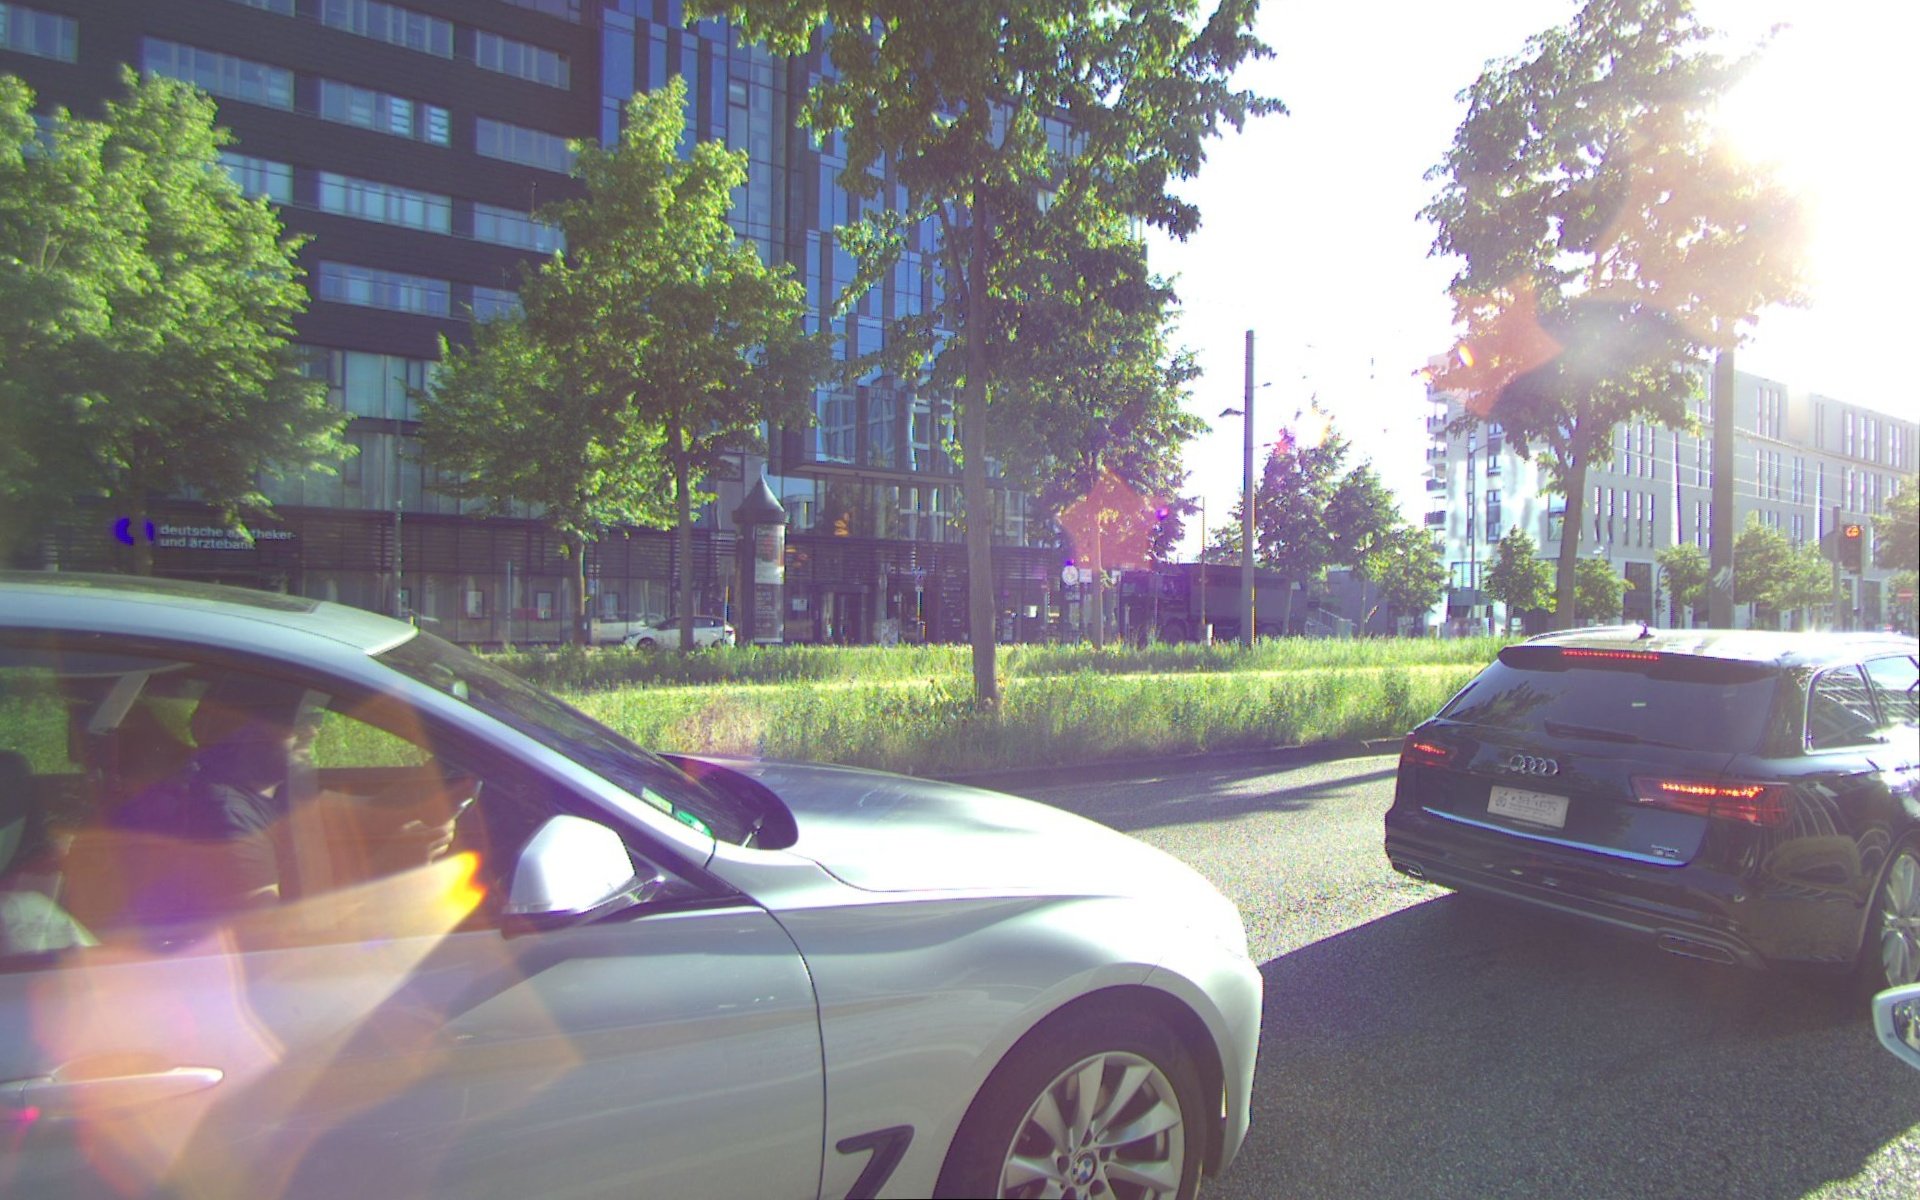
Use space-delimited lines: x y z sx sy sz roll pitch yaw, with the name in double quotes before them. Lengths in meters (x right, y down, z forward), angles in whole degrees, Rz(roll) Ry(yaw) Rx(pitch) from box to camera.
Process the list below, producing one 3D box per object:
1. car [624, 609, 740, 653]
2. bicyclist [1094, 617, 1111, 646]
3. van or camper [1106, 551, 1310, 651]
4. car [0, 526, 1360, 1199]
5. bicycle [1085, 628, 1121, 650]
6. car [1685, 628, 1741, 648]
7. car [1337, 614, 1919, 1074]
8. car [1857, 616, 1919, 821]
"car" -10.090 1.120 36.416 3.937 1.525 1.751 1 -1 -19
"bicyclist" 7.047 1.549 49.726 0.619 1.425 0.490 2 0 -30
"van or camper" 11.629 0.162 46.474 10.109 4.248 2.740 2 -1 -30
"car" -1.504 0.674 1.946 4.689 1.508 1.799 1 -1 -31
"bicycle" 7.082 1.934 49.742 1.826 1.047 0.525 2 0 -31
"car" 52.662 2.663 70.222 4.420 1.360 1.572 2 -1 -31
"car" 4.181 0.848 5.189 4.455 1.476 1.799 1 -1 -31
"car" 9.278 0.933 8.149 4.063 1.548 1.800 1 -1 -30
